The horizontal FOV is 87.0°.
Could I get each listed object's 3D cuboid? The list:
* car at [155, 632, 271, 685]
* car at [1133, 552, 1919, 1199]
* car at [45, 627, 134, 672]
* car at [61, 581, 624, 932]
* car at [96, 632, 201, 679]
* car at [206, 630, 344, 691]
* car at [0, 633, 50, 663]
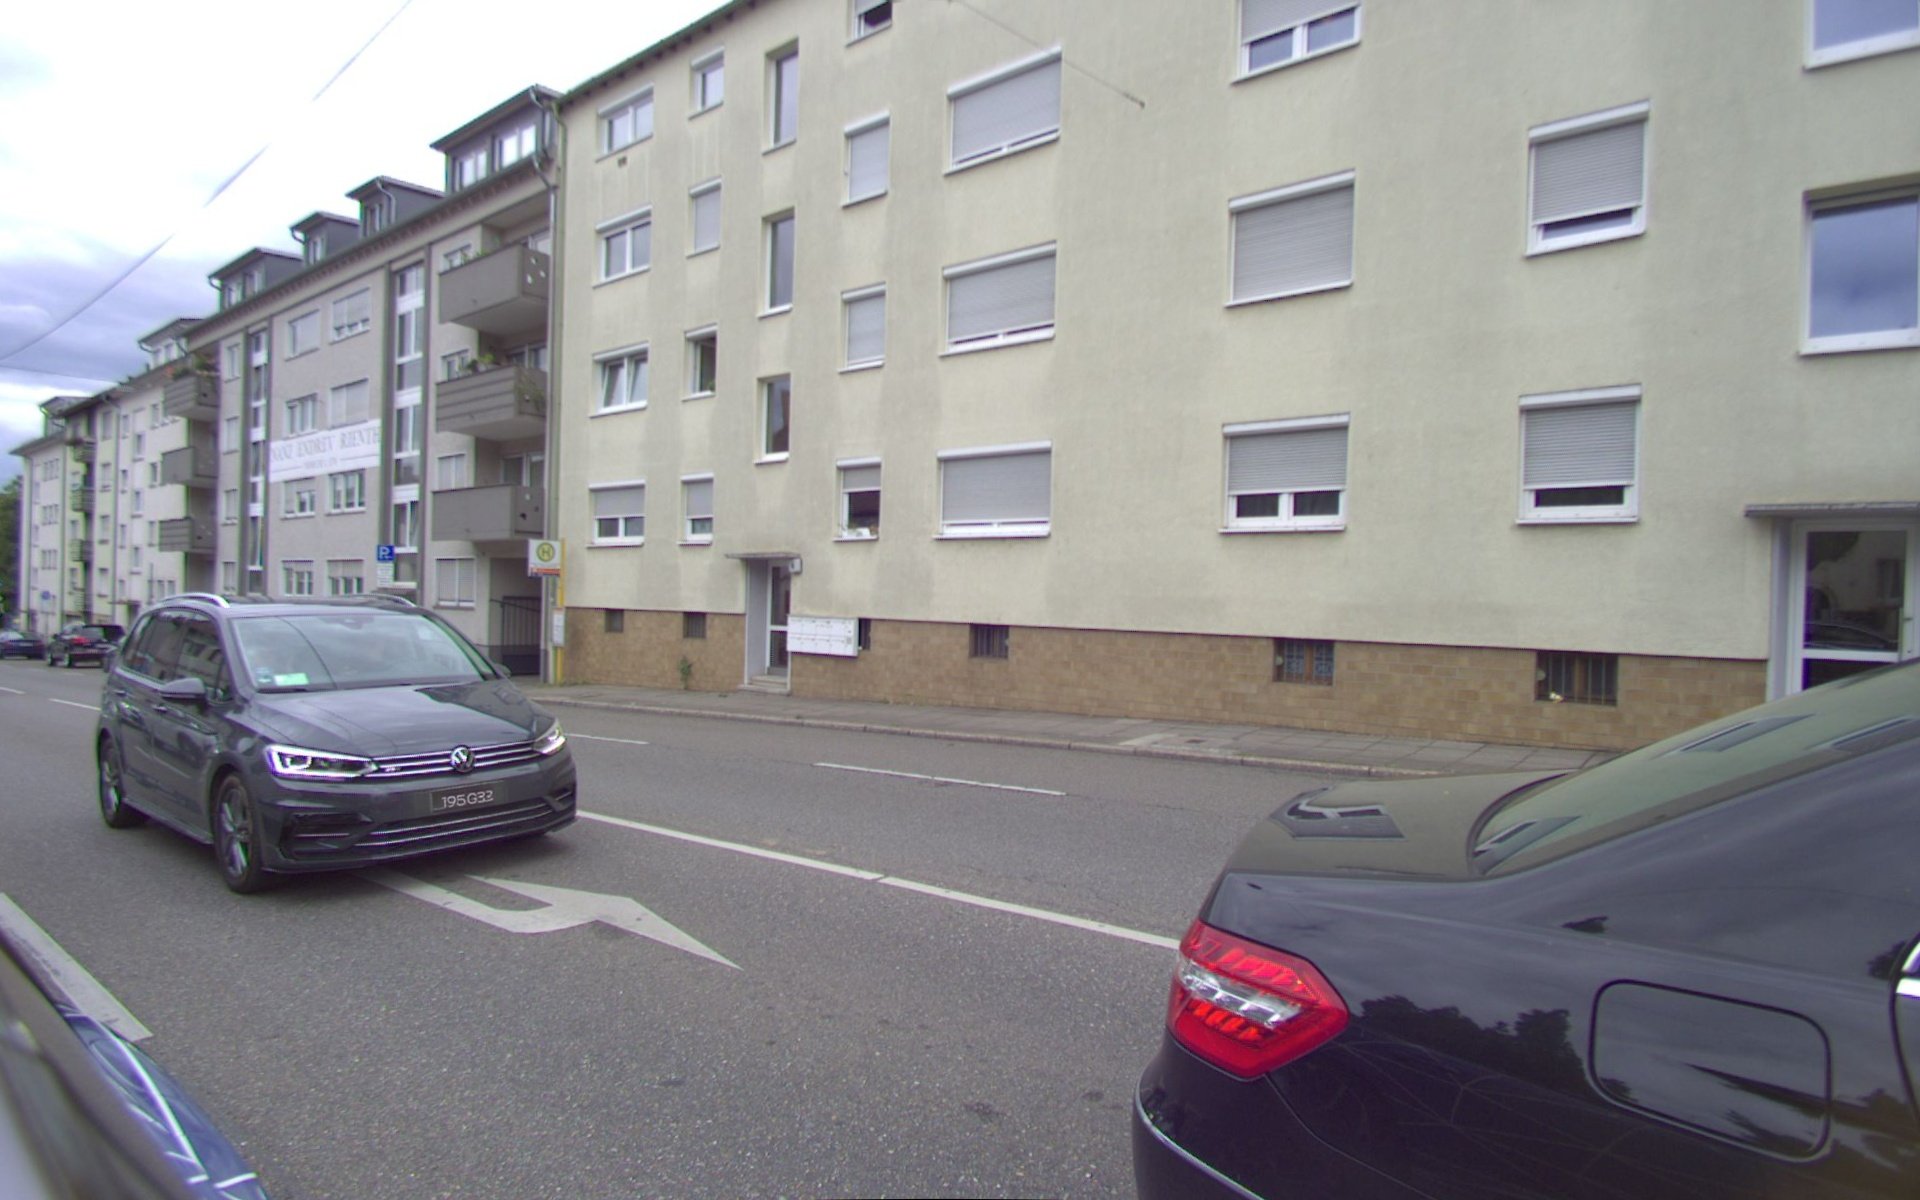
[{"bbox_3d":[-21.444,1.642,29.021,3.533,1.386,1.649,-1,-3,36],"label":"car"},{"bbox_3d":[2.729,0.644,0.682,4.840,1.439,1.973,-2,-1,41],"label":"car"},{"bbox_3d":[-33.189,1.868,38.581,3.533,1.613,1.755,-1,-3,36],"label":"car"},{"bbox_3d":[-4.347,0.737,6.812,4.474,1.623,1.840,-1,0,39],"label":"car"},{"bbox_3d":[-26.232,1.754,32.685,3.533,1.414,1.755,-1,-3,36],"label":"car"},{"bbox_3d":[-17.582,1.507,25.934,3.680,1.422,1.755,-1,-3,36],"label":"car"},{"bbox_3d":[-46.168,2.325,49.426,3.752,1.414,1.755,-1,-3,36],"label":"car"}]
